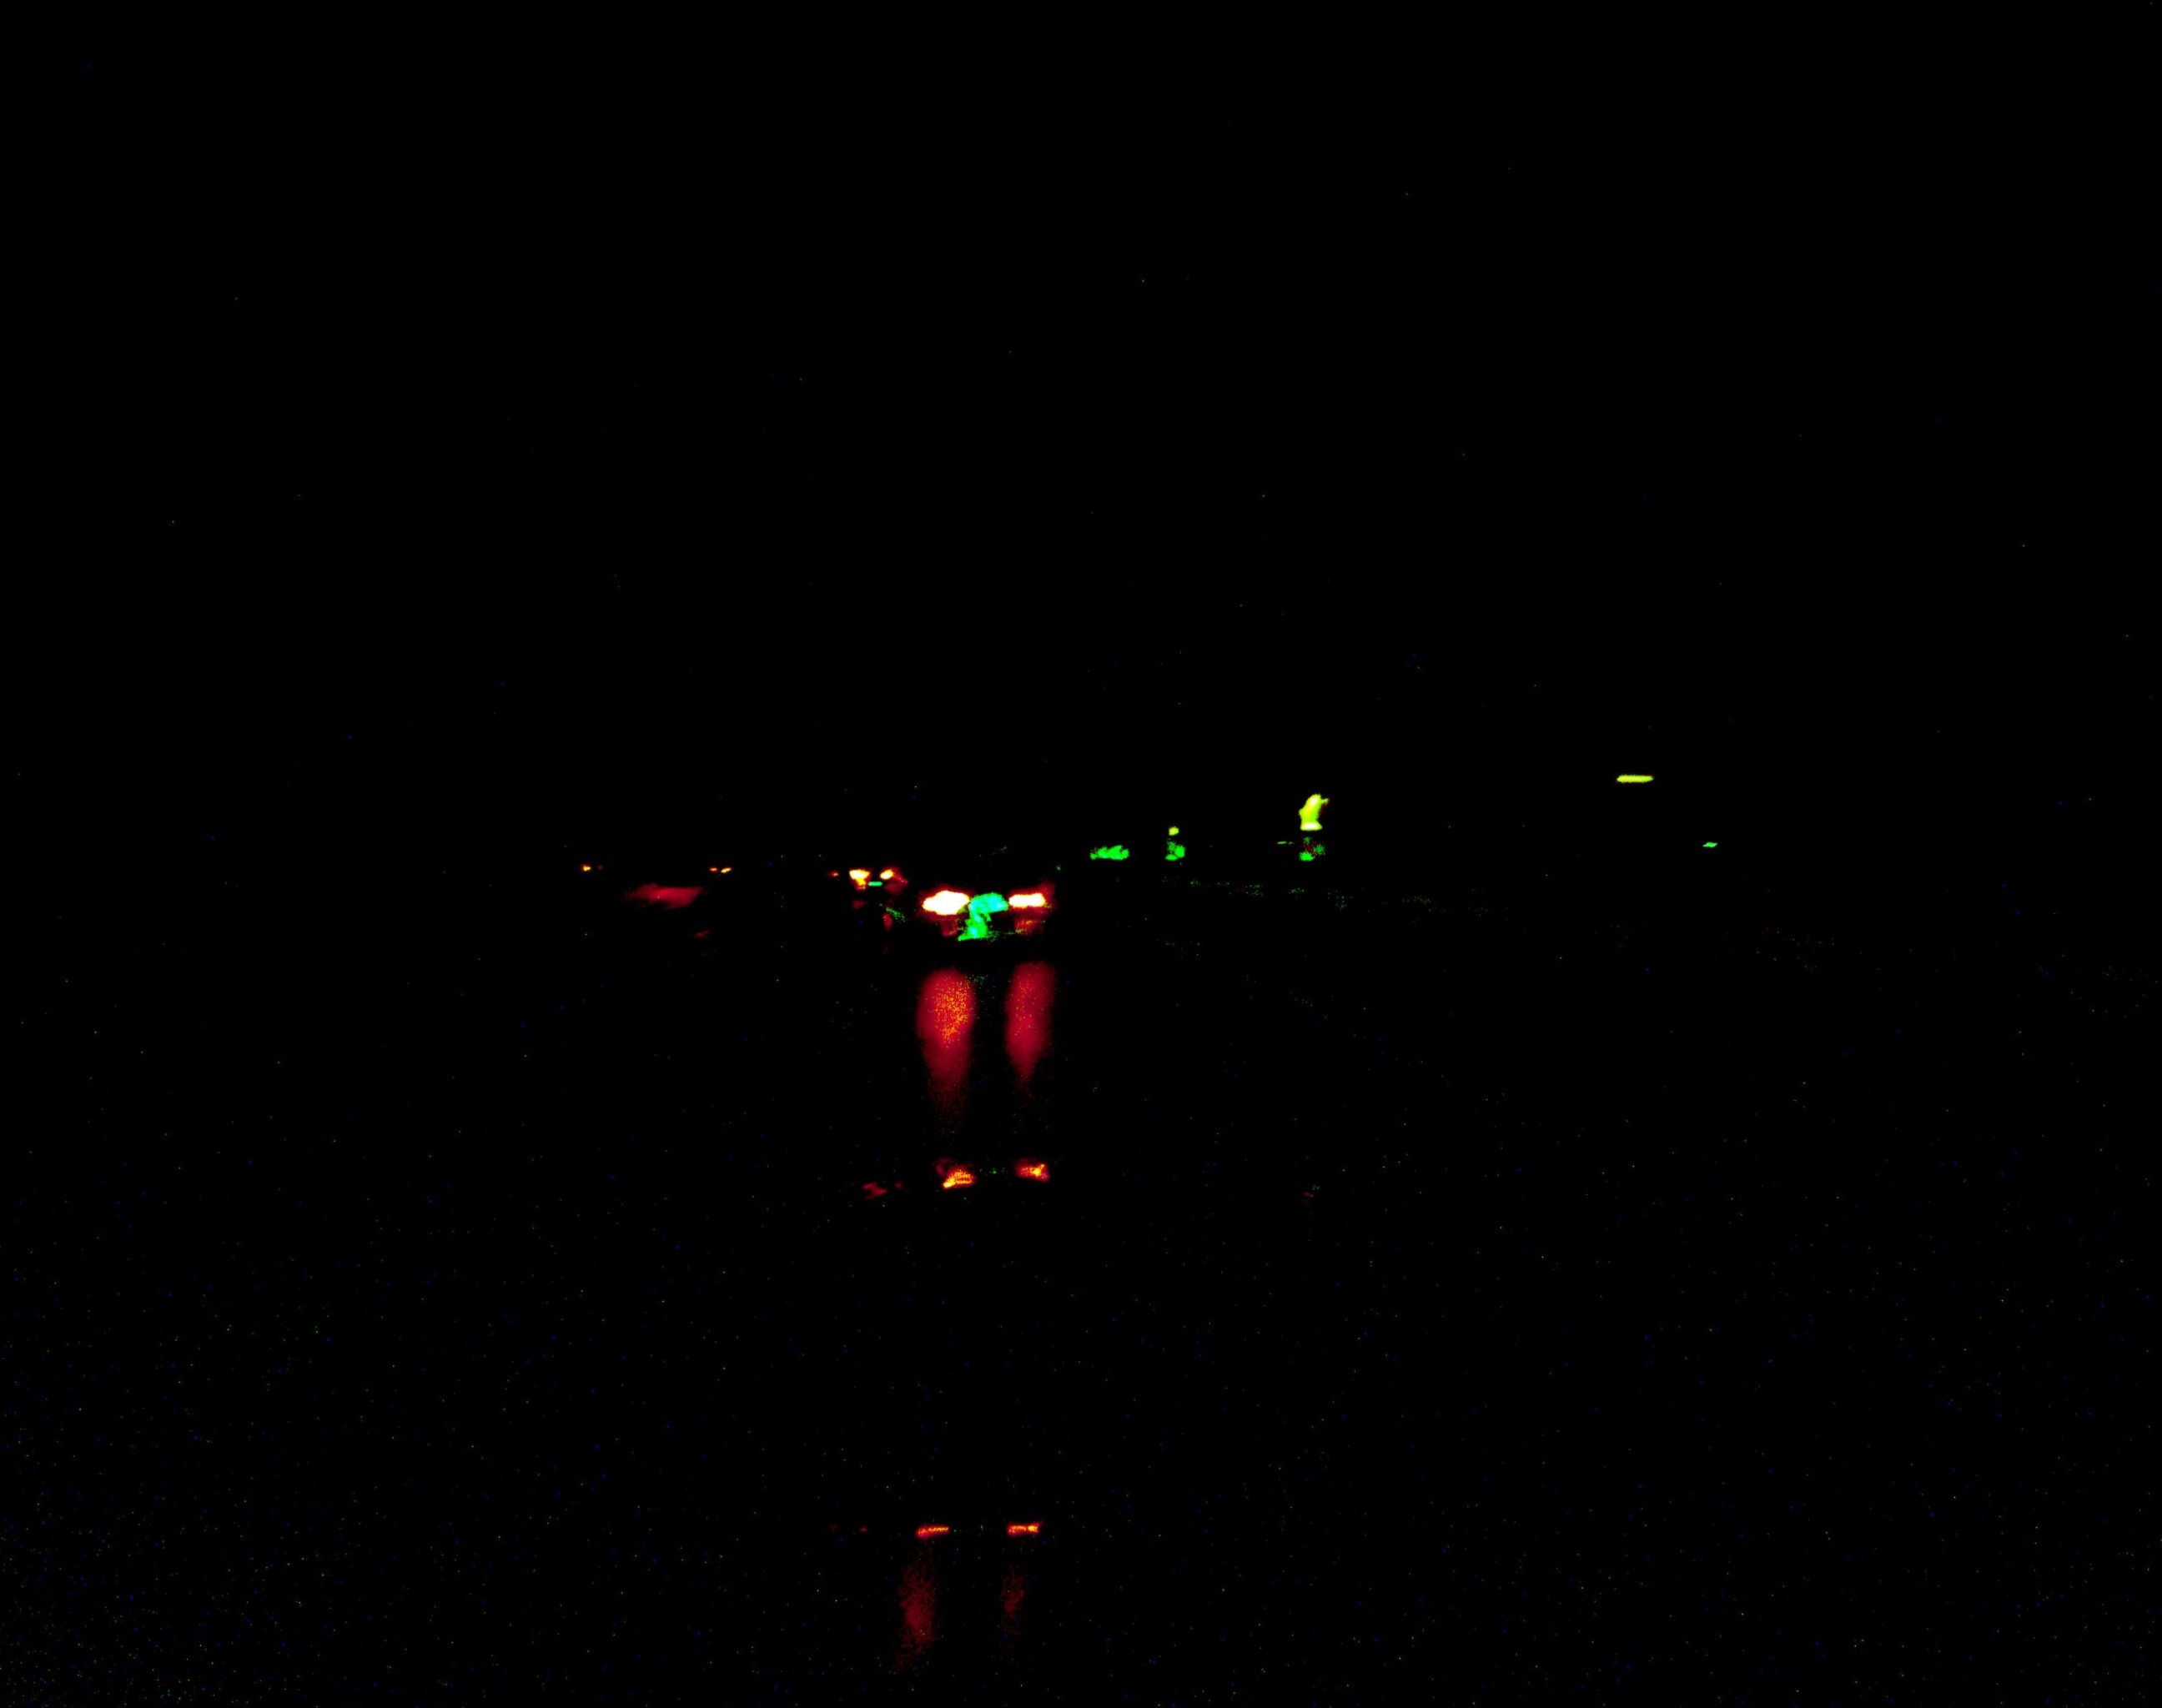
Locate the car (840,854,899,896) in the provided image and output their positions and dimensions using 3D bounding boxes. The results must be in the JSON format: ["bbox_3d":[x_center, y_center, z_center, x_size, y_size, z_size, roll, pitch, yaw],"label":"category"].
[{"bbox_3d":[-9.321,0.873,35.654,1.904,1.720,4.014,0,-1,-23],"label":"car"}]

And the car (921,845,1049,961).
[{"bbox_3d":[-1.713,0.711,14.003,1.860,1.647,4.056,-1,0,-9],"label":"car"}]

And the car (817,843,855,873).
[{"bbox_3d":[-17.804,0.332,59.054,1.906,2.040,4.008,0,-2,-28],"label":"car"}]

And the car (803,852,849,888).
[{"bbox_3d":[-15.183,0.961,48.319,1.906,2.040,4.008,0,-2,-28],"label":"car"}]
